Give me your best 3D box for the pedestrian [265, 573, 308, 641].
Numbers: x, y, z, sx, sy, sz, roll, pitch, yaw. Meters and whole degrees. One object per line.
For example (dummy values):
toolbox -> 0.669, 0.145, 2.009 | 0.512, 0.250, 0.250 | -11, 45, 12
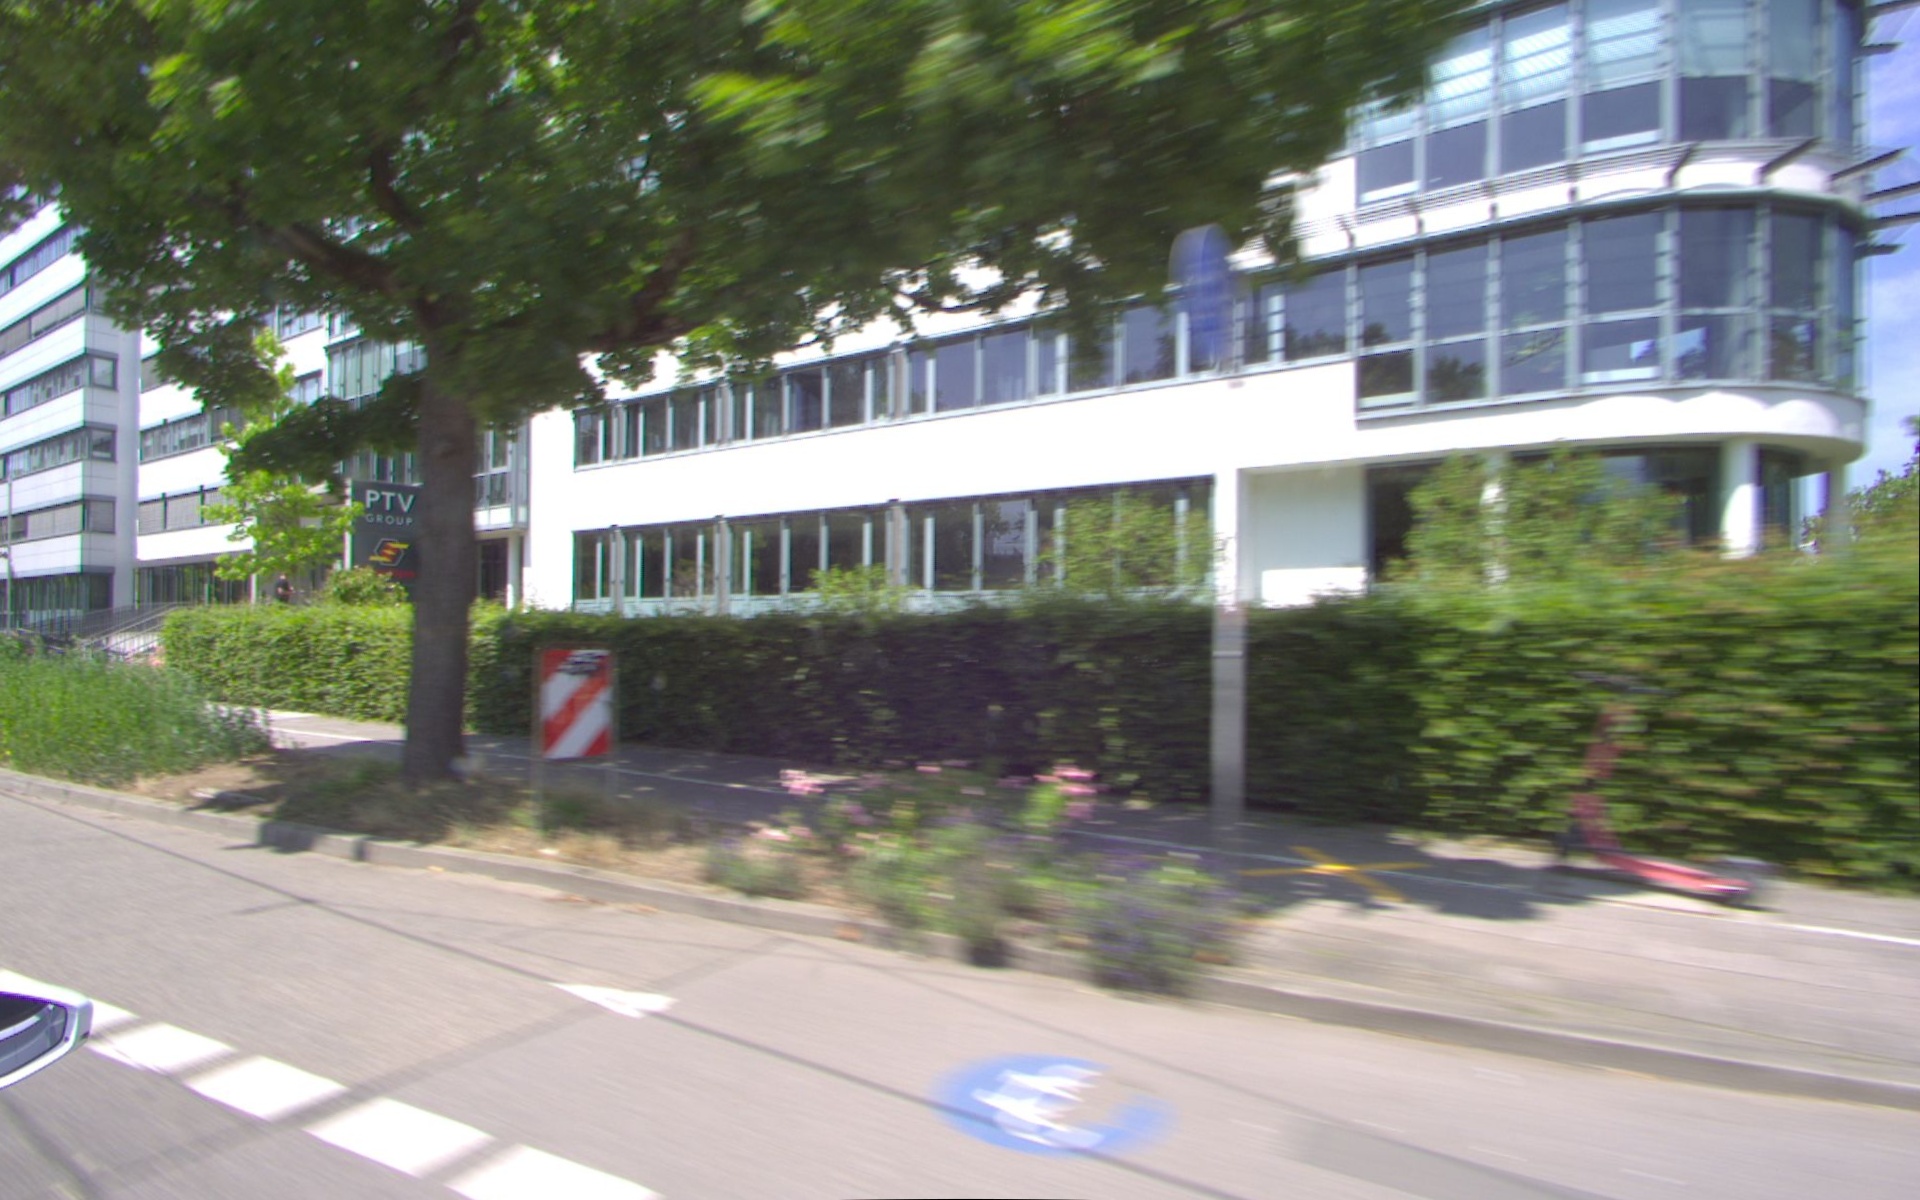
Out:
pedestrian -> -17.781, 0.199, 26.436 | 0.866, 1.737, 1.081 | 0, -1, -37

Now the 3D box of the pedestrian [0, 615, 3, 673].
pedestrian -> -28.744, 1.307, 29.527 | 0.555, 1.737, 0.539 | -1, 0, 5

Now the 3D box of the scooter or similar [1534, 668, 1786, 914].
scooter or similar -> 3.960, 1.025, 5.733 | 0.323, 1.237, 1.144 | 3, -3, -34

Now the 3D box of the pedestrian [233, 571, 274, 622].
pedestrian -> -25.000, -0.095, 35.442 | 0.796, 1.737, 0.876 | 0, -3, 33
